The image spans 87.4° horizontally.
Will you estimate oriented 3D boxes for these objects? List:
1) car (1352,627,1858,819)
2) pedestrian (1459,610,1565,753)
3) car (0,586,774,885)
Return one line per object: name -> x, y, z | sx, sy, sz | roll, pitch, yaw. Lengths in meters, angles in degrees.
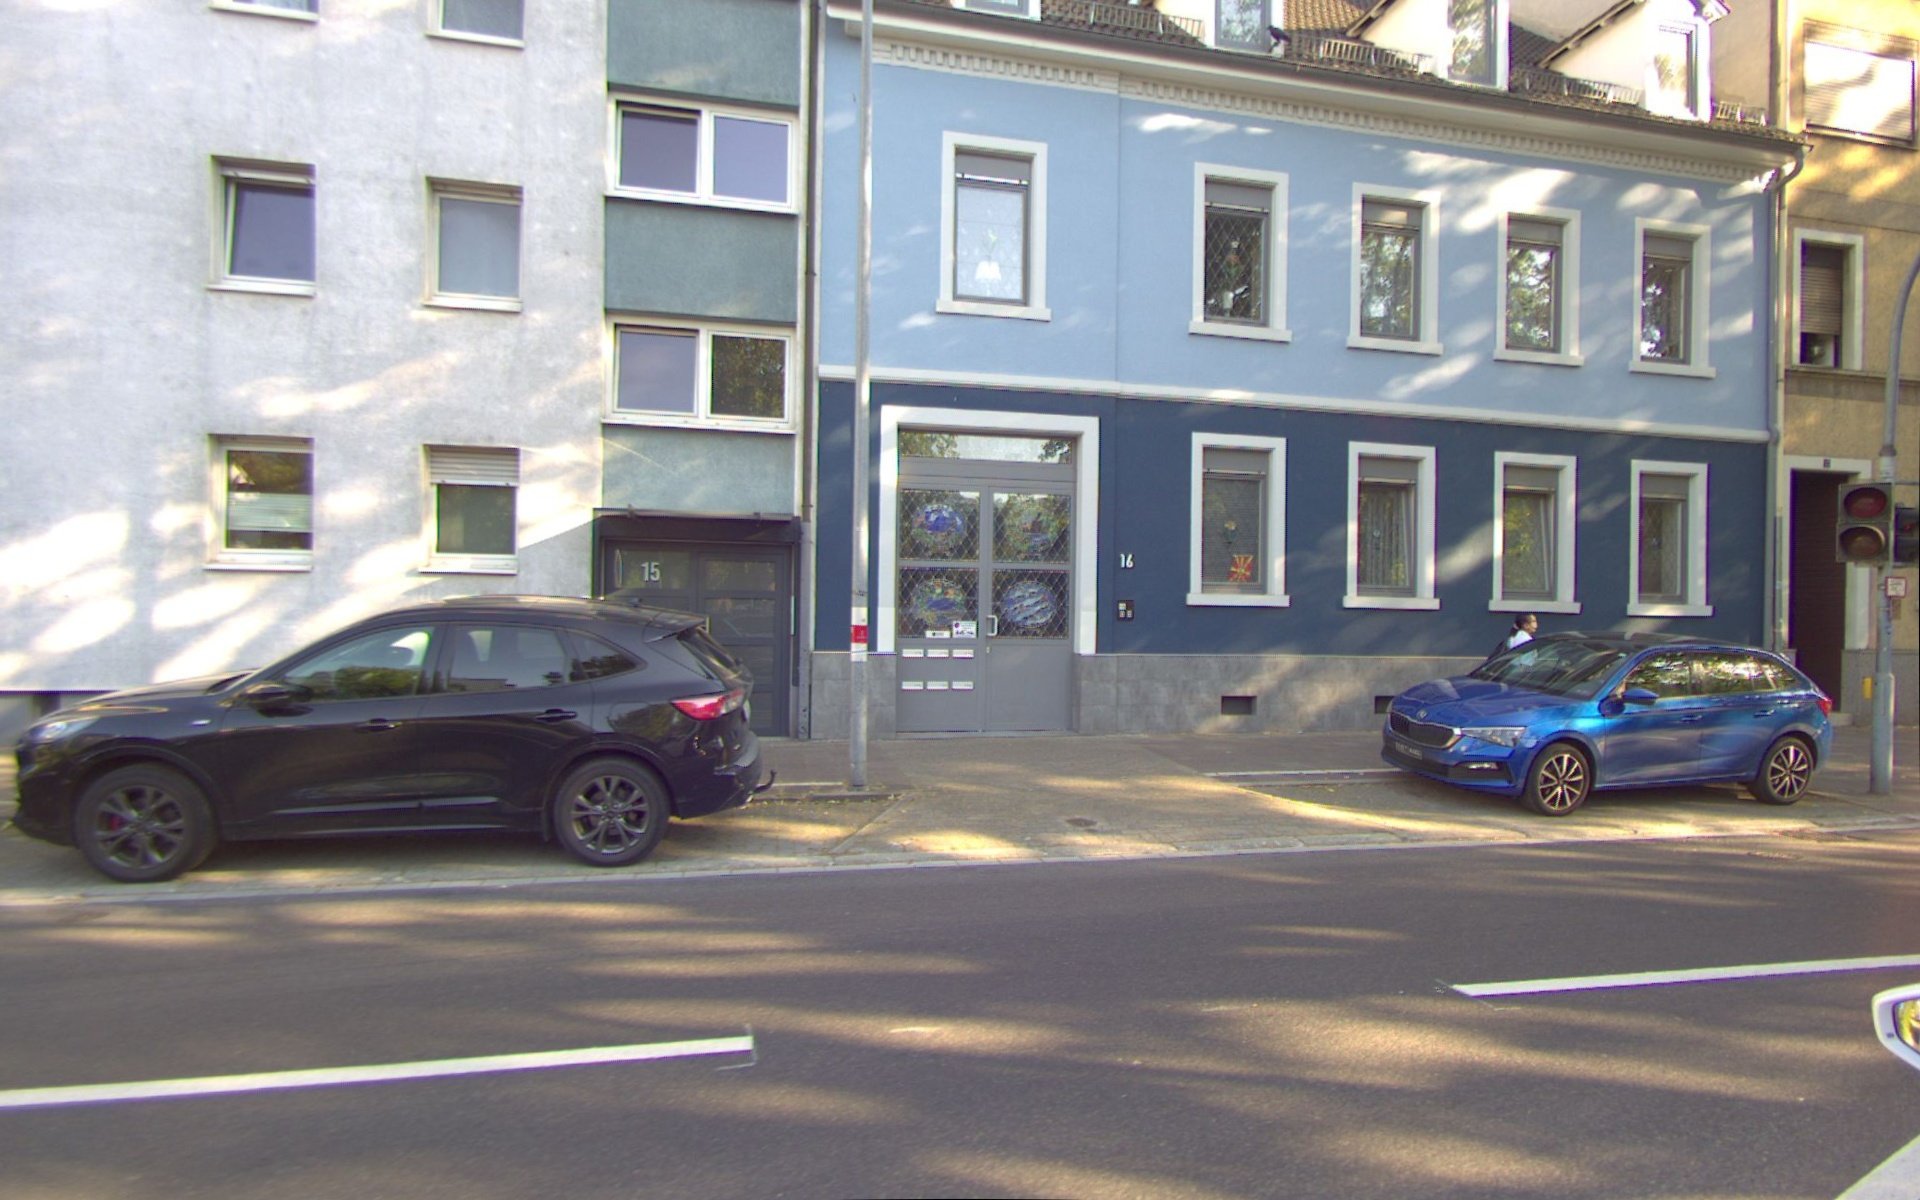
car -> 6.098, 1.074, 9.604 | 4.191, 1.506, 1.650 | 1, 1, -15
pedestrian -> 6.407, 0.925, 11.701 | 0.848, 1.591, 0.706 | 1, -1, 3
car -> -3.579, 0.804, 7.010 | 4.411, 1.695, 1.909 | 1, 1, -10
